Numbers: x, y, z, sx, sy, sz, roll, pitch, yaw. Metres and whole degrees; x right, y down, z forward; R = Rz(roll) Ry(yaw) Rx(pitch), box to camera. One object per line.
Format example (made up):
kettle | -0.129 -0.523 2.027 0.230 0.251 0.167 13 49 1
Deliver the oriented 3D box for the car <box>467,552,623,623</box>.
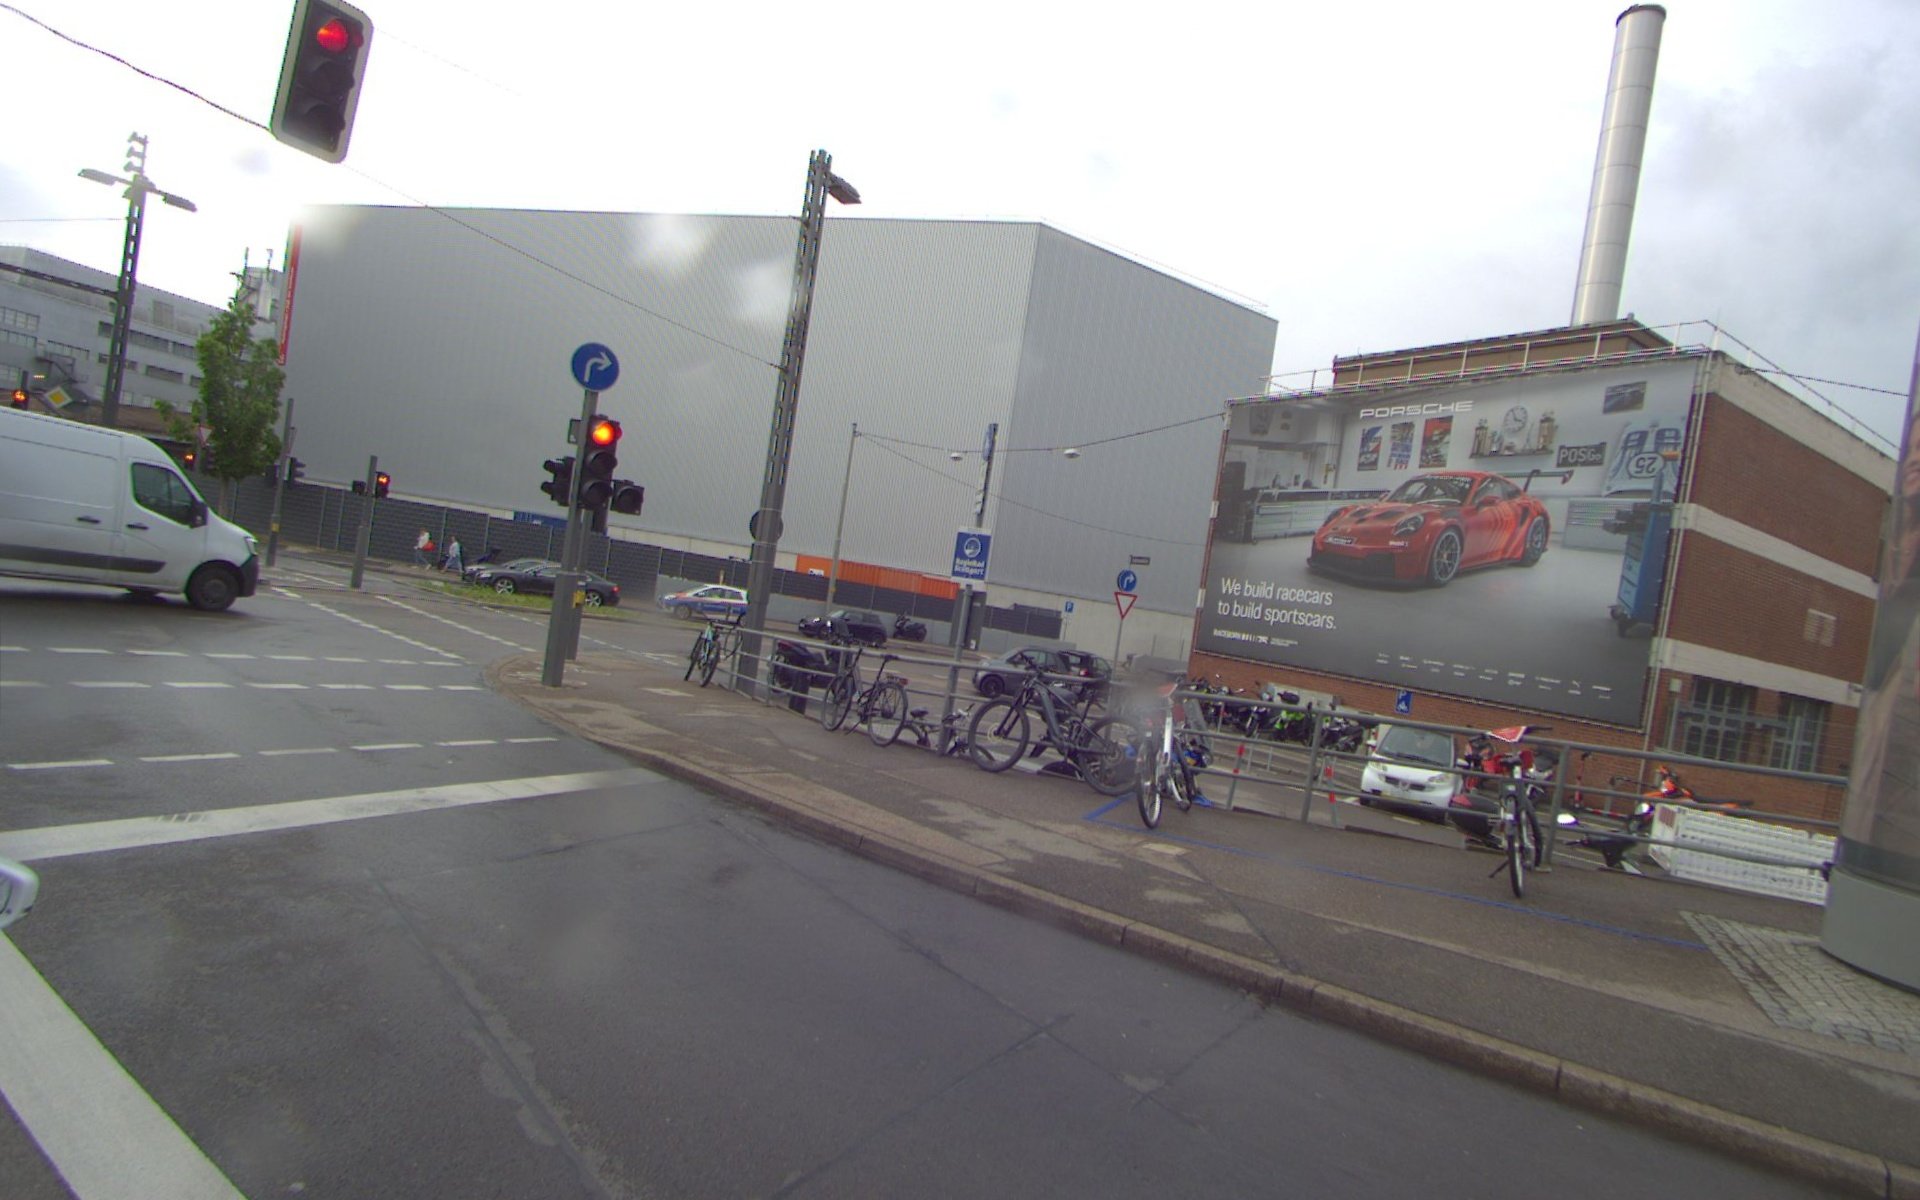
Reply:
car | -13.813 -0.403 33.530 4.536 1.557 1.744 10 -1 -29

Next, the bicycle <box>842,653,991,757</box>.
bicycle | -0.533 1.179 11.512 1.789 0.916 0.530 6 -1 44

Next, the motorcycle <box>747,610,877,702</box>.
motorcycle | -2.670 1.050 18.382 0.746 1.469 2.225 8 -1 42

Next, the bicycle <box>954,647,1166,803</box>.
bicycle | 0.915 1.153 9.643 1.969 1.176 0.385 6 0 35

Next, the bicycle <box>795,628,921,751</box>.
bicycle | -1.177 0.971 11.268 0.383 1.133 1.731 6 0 -39

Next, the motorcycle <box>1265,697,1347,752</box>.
motorcycle | 8.648 3.119 25.124 1.999 1.206 0.605 6 3 -29

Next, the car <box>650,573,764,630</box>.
car | -10.089 0.071 40.180 3.939 1.620 1.898 10 -1 -29

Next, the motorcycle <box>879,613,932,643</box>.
motorcycle | -2.800 1.448 51.643 2.471 1.200 0.991 8 -1 -34

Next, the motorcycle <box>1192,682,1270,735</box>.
motorcycle | 7.305 2.919 27.077 1.998 1.206 0.605 6 3 -27

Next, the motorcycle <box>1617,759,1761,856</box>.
motorcycle | 14.121 3.976 19.536 0.922 1.327 1.961 5 4 -41

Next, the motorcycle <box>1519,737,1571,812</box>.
motorcycle | 12.441 3.681 21.374 0.564 1.327 1.863 10 3 37

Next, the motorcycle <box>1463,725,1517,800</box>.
motorcycle | 11.622 3.518 22.026 0.677 1.327 2.016 9 3 33

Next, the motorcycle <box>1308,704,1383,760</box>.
motorcycle | 9.326 3.180 24.286 2.005 1.206 0.603 6 3 -38

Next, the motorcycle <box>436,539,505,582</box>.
motorcycle | -19.747 -1.593 40.597 2.335 1.360 0.648 8 0 -30

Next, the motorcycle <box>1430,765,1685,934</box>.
motorcycle | 5.154 2.134 8.818 1.718 1.002 0.699 8 0 21

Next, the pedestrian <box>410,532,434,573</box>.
pedestrian | -20.850 -1.845 38.992 0.605 1.499 0.421 7 0 -23

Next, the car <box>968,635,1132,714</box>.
car | 2.409 2.012 27.498 4.091 1.547 1.836 8 -2 -3

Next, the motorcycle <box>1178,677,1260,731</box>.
motorcycle | 7.258 2.920 28.251 1.987 1.206 0.608 7 3 -4

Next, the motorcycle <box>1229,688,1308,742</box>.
motorcycle | 8.003 2.981 26.100 1.999 1.206 0.605 6 3 -29

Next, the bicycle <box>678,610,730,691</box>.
bicycle | -4.099 0.776 16.022 0.381 1.111 1.740 6 0 -25

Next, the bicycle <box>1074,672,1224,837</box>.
bicycle | 1.637 1.228 8.448 0.666 1.154 1.774 6 -1 27

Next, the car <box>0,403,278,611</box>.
car | -12.832 -1.319 13.765 1.963 2.477 5.425 8 0 22

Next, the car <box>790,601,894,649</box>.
car | -5.039 1.085 43.146 3.958 1.408 1.744 10 -1 -29

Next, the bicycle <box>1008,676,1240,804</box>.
bicycle | 1.631 1.374 10.210 2.138 0.916 0.693 6 -1 32

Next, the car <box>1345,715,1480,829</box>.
car | 8.445 3.069 18.630 1.665 1.499 3.555 10 1 31

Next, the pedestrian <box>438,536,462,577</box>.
pedestrian | -19.819 -1.696 39.092 0.642 1.499 0.436 7 0 -25

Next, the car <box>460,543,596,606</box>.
car | -15.572 -0.914 36.296 4.254 1.557 1.744 10 -1 -29

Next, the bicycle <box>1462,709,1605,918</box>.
bicycle | 4.157 1.476 7.412 0.581 1.176 1.805 6 0 23
